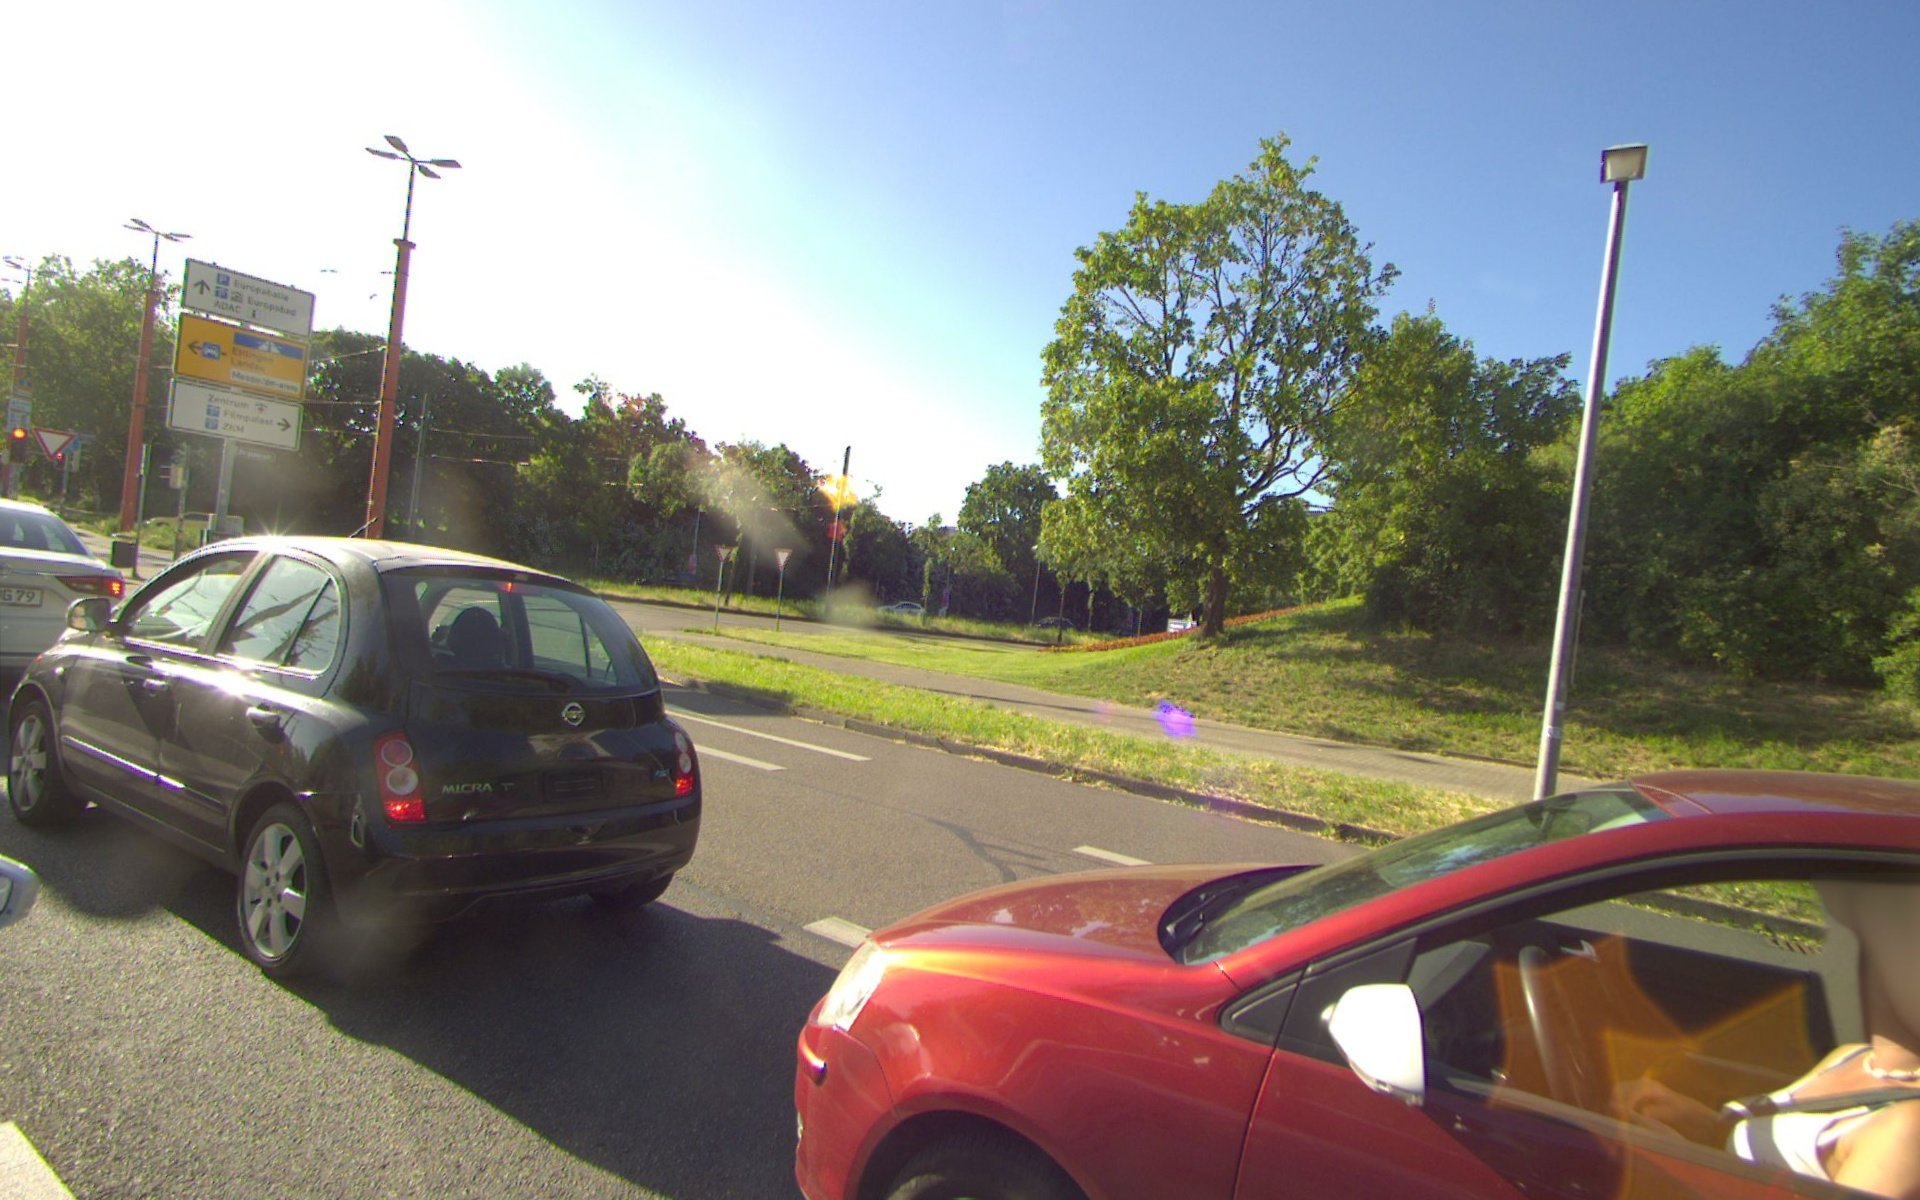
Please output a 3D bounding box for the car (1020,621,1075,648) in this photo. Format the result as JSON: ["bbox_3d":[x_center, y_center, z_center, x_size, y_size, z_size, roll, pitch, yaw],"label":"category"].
[{"bbox_3d":[6.726,2.634,77.277,3.764,1.528,1.644,8,-1,-31],"label":"car"}]

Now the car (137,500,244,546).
[{"bbox_3d":[-40.451,-4.039,52.997,4.176,1.701,1.643,8,-1,-32],"label":"car"}]

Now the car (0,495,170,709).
[{"bbox_3d":[-8.376,-0.176,8.077,4.256,1.457,1.802,6,-2,33],"label":"car"}]

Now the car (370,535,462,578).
[{"bbox_3d":[-29.851,-2.384,55.227,4.180,1.701,1.641,8,-1,-35],"label":"car"}]

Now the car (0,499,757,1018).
[{"bbox_3d":[-2.804,0.466,4.622,3.385,1.457,1.579,6,-2,32],"label":"car"}]

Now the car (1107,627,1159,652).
[{"bbox_3d":[14.687,3.345,85.437,4.105,1.528,1.644,8,-1,-31],"label":"car"}]

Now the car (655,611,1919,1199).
[{"bbox_3d":[1.339,1.002,1.866,3.629,1.477,1.579,6,-2,32],"label":"car"}]

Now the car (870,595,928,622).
[{"bbox_3d":[-4.517,0.629,74.878,3.888,1.474,1.643,8,-1,-32],"label":"car"}]

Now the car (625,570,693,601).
[{"bbox_3d":[-19.694,-0.966,65.890,3.887,1.474,1.643,8,-1,-31],"label":"car"}]
